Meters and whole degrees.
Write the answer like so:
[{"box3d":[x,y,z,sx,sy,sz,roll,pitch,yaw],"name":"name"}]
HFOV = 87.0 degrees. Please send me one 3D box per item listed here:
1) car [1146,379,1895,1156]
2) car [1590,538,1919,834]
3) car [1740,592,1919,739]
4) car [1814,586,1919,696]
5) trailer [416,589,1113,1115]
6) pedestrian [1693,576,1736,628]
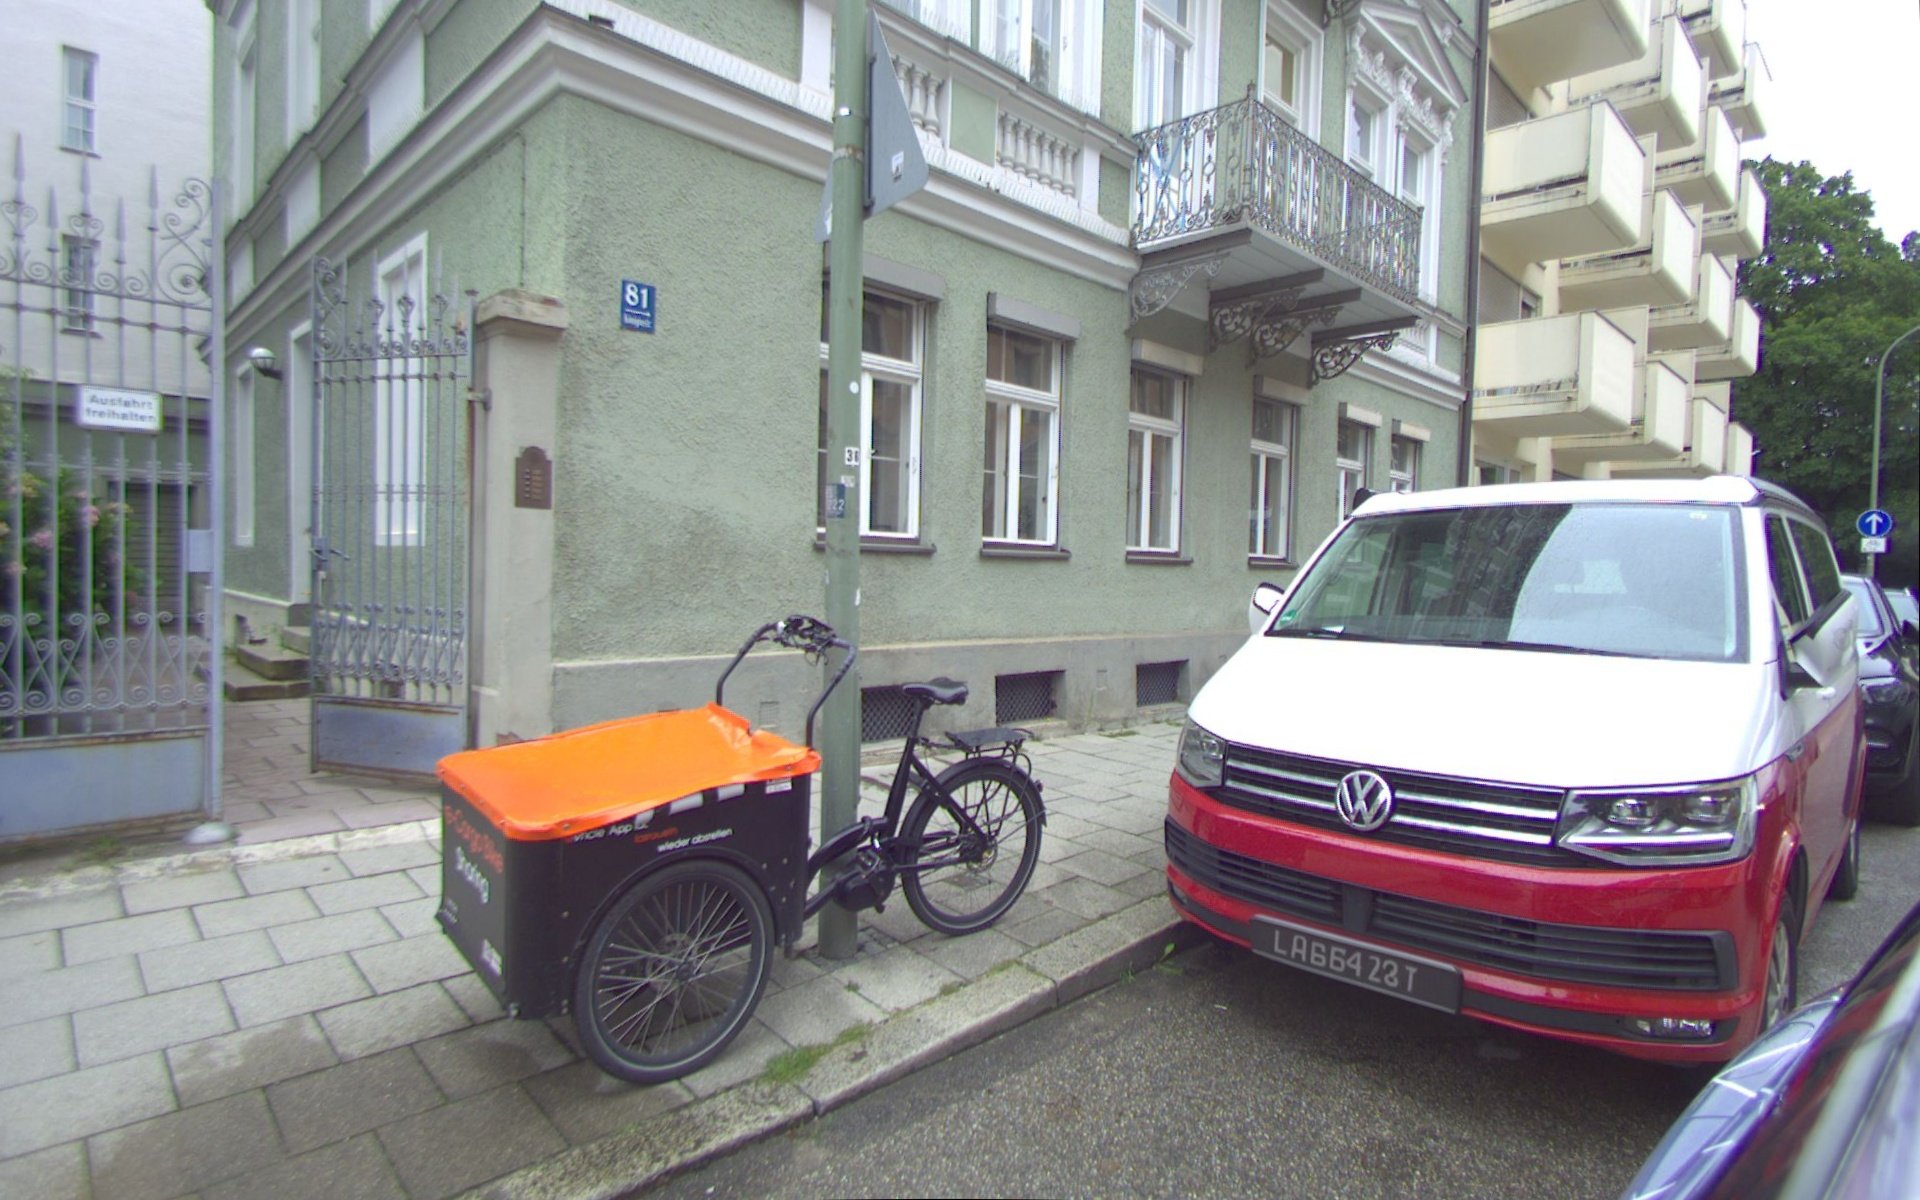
[{"box3d":[2.962,0.406,4.756,4.515,1.920,1.855,0,0,-44],"name":"car"},{"box3d":[6.776,0.521,8.268,1.828,1.780,4.479,0,0,45],"name":"car"},{"box3d":[10.748,0.666,12.300,1.548,1.515,3.913,0,0,45],"name":"car"},{"box3d":[14.928,0.587,16.260,1.547,1.591,3.913,0,0,45],"name":"car"},{"box3d":[-0.574,0.608,3.477,2.126,1.198,0.945,0,5,-40],"name":"trailer"},{"box3d":[27.030,0.068,36.269,1.068,1.822,1.082,0,0,29],"name":"pedestrian"}]
